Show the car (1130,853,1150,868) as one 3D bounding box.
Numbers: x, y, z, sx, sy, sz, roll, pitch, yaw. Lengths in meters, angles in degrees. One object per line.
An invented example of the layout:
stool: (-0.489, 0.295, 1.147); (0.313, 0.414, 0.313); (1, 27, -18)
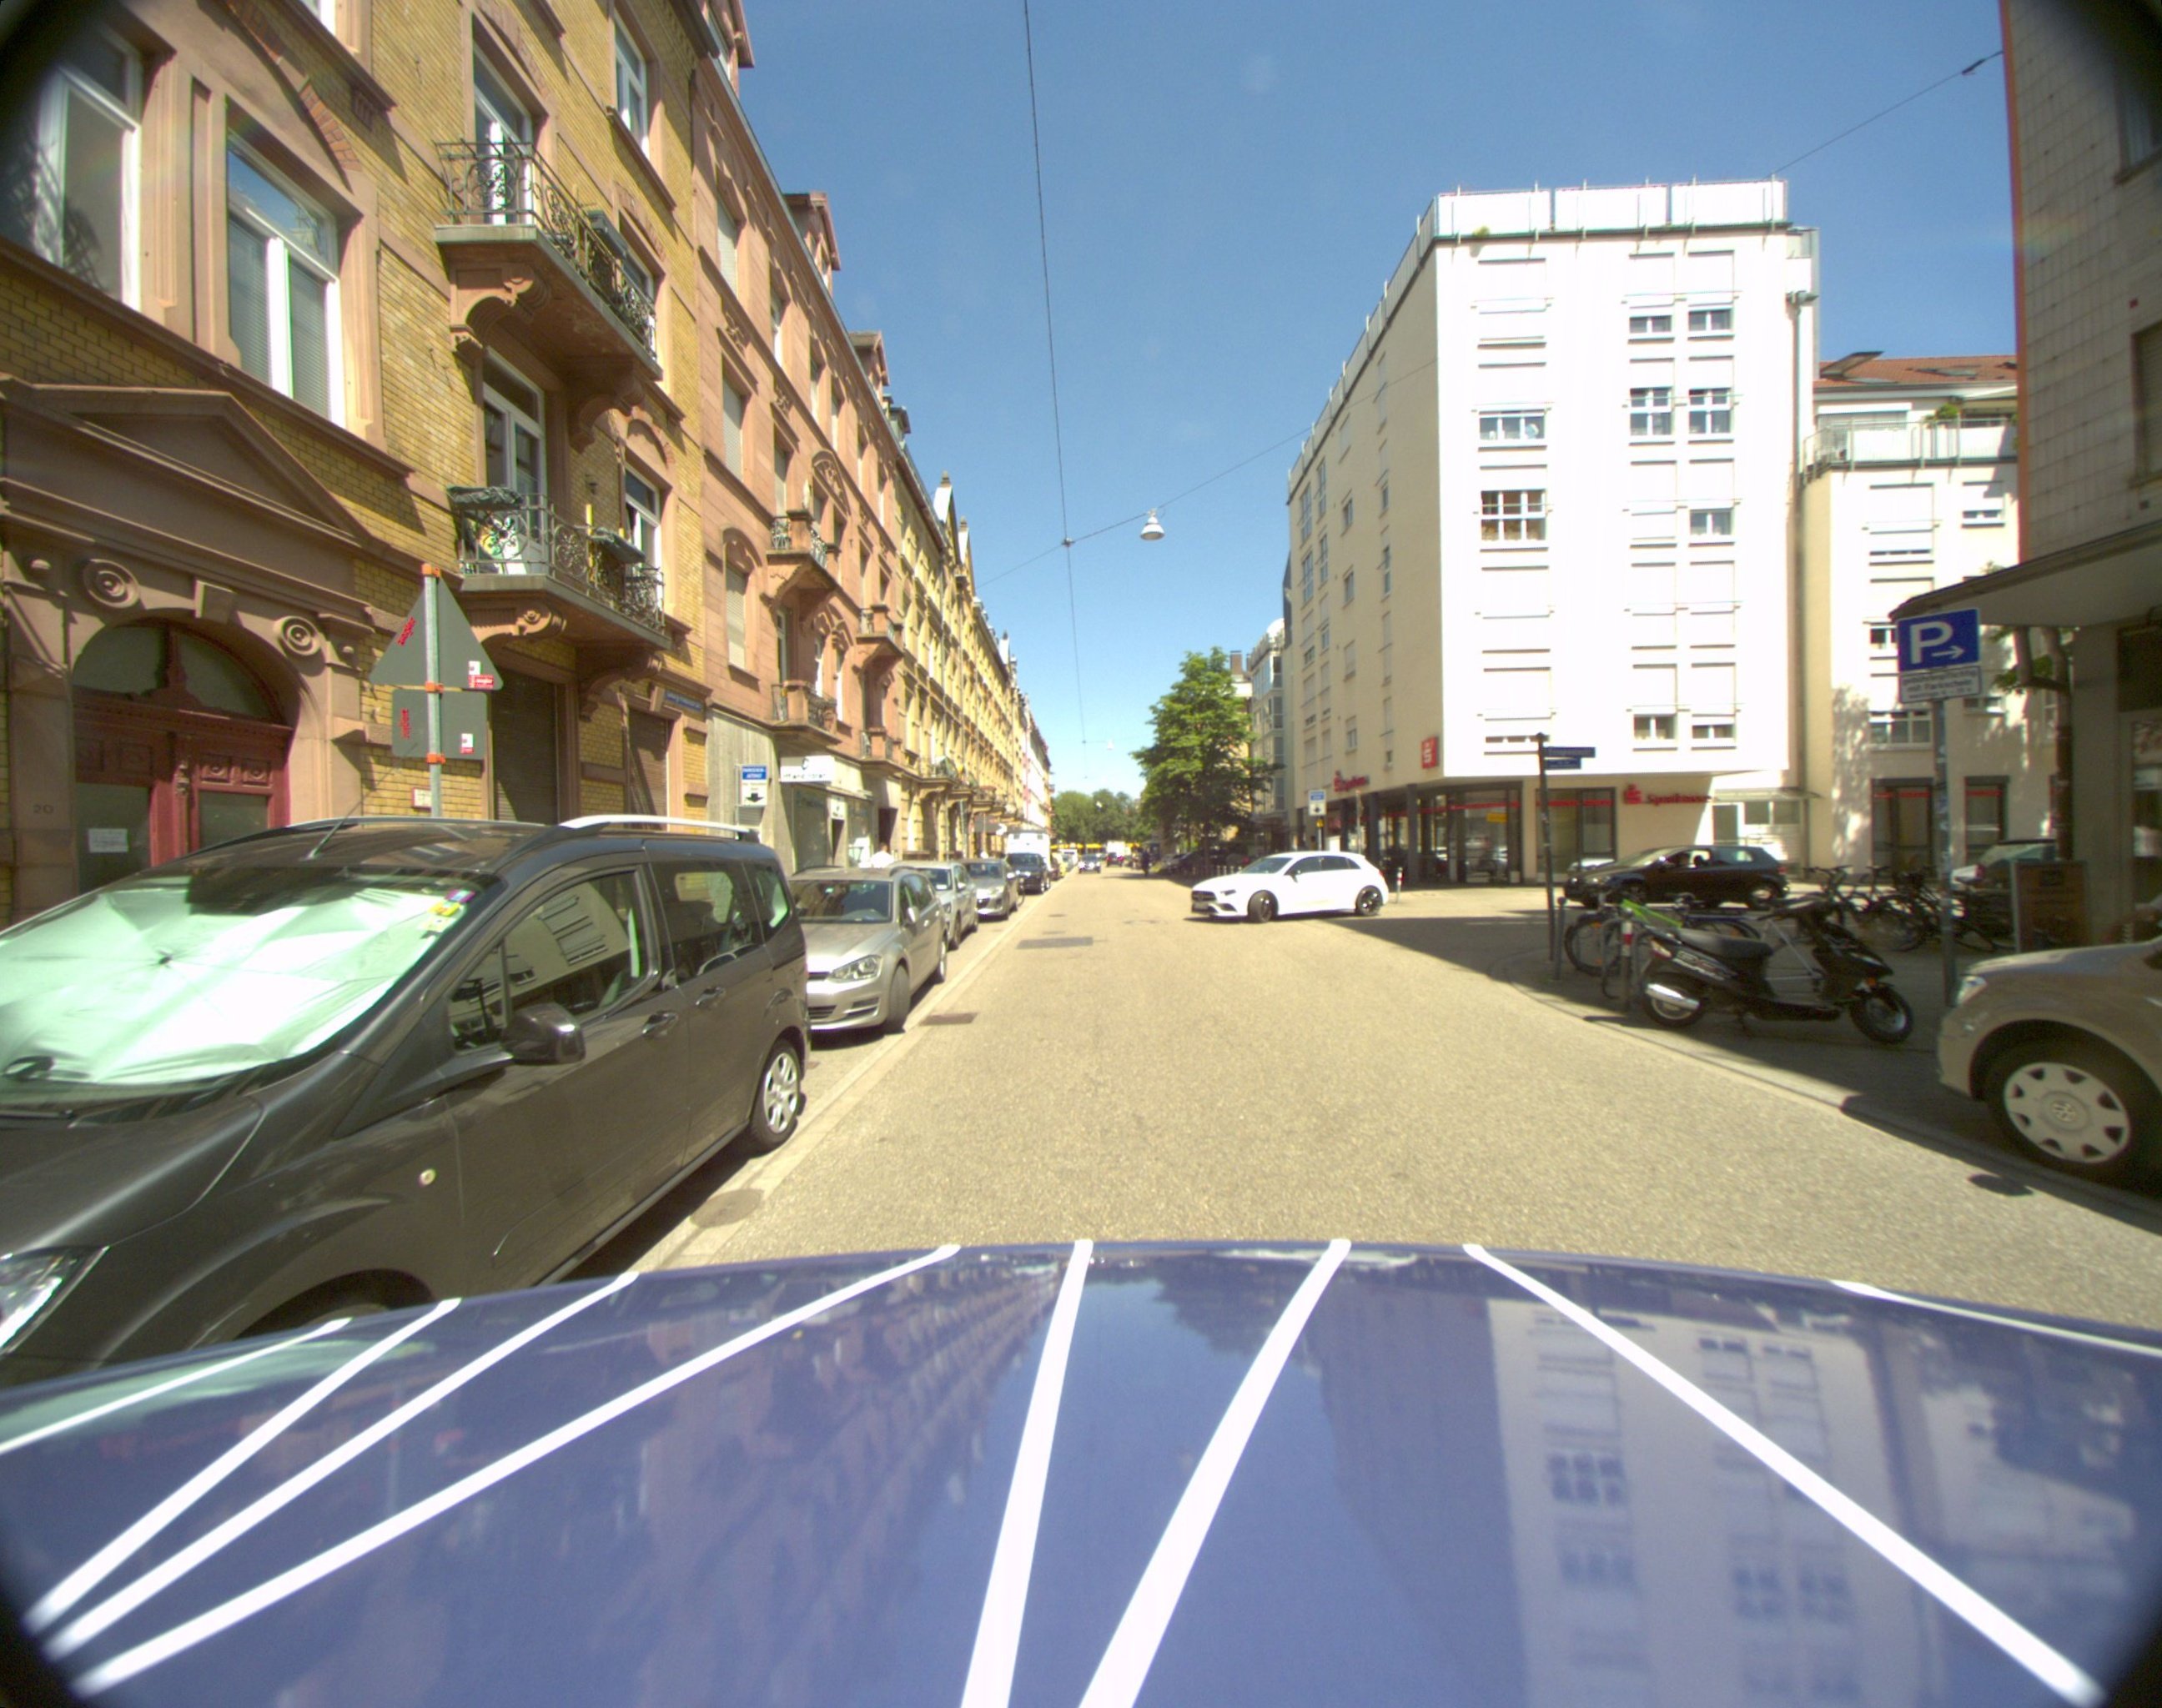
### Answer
car: (6.805, 0.714, 87.709); (1.998, 1.505, 4.000); (-3, 1, 1)

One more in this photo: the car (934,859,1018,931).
car: (-2.435, 0.917, 18.426); (1.602, 1.454, 3.689); (-2, 1, -2)

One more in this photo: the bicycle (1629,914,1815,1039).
bicycle: (5.607, 1.032, 6.689); (1.210, 0.951, 0.338); (-2, 1, 43)

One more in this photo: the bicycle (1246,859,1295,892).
bicycle: (6.754, 0.758, 27.134); (1.608, 1.084, 0.371); (-3, 1, 6)

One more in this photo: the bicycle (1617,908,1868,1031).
bicycle: (6.050, 1.011, 7.047); (1.706, 0.951, 0.411); (-2, 1, 43)

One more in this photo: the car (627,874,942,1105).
car: (-2.462, 1.012, 7.396); (1.766, 1.441, 3.903); (-2, 1, -5)

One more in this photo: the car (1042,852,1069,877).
car: (-1.697, 0.658, 50.503); (1.682, 1.528, 3.999); (-2, 1, -2)

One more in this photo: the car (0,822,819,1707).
car: (-2.505, 0.831, 2.603); (1.706, 1.723, 4.000); (-2, 1, 1)

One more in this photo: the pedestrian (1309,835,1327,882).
pedestrian: (10.740, 0.205, 34.395); (0.608, 2.113, 0.496); (-1, 1, 36)

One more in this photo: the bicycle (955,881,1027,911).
bicycle: (-2.572, 1.211, 21.911); (1.965, 0.772, 0.568); (-1, 1, 5)

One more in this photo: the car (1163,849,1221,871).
car: (7.953, 0.427, 54.721); (3.885, 1.487, 1.652); (-1, 0, 0)

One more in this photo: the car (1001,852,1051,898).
car: (-2.043, 0.742, 28.992); (1.682, 1.528, 3.999); (-2, 1, -2)

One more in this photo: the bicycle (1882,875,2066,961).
bicycle: (11.622, 0.793, 9.975); (0.410, 0.951, 1.711); (-2, 1, 2)

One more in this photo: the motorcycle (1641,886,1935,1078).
motorcycle: (5.224, 0.904, 5.733); (1.552, 1.277, 0.394); (-2, 2, 33)

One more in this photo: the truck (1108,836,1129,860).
truck: (5.256, -0.801, 106.719); (2.763, 3.270, 4.957); (-1, 1, 1)

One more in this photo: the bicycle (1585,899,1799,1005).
bicycle: (6.355, 0.983, 7.984); (1.706, 0.951, 0.411); (-2, 1, 43)

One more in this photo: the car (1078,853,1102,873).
car: (0.711, 0.695, 60.170); (1.780, 1.460, 4.000); (-3, 1, 1)

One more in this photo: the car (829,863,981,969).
car: (-2.939, 0.970, 13.575); (1.830, 1.452, 3.999); (-2, 1, -2)

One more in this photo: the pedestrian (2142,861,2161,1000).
pedestrian: (9.474, 0.648, 6.222); (0.593, 1.173, 0.698); (-1, 1, -1)

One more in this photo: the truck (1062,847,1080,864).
truck: (-1.223, 0.184, 96.007); (1.998, 2.002, 4.902); (-1, 0, 1)

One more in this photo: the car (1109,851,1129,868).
car: (4.125, 0.566, 83.854); (1.998, 1.674, 4.000); (-3, 1, 1)

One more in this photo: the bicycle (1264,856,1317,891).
bicycle: (7.038, 0.657, 25.547); (1.608, 1.084, 0.371); (-3, 1, 6)

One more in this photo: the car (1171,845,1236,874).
car: (7.889, 0.358, 49.158); (3.885, 1.737, 1.652); (-1, 1, 0)

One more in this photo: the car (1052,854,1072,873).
car: (-1.737, 0.840, 68.674); (1.682, 1.528, 3.999); (-2, 1, -2)

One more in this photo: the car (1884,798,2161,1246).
car: (5.234, 0.651, 1.656); (1.793, 1.818, 4.900); (-3, 0, 1)

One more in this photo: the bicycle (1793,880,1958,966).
bicycle: (10.381, 0.859, 10.017); (0.410, 0.951, 1.711); (-2, 1, 2)

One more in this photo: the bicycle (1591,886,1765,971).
bicycle: (7.652, 0.916, 9.827); (0.411, 0.951, 1.707); (-3, 1, -32)

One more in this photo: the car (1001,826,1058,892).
car: (-2.264, 0.193, 34.850); (2.067, 2.687, 5.038); (-3, 1, 1)

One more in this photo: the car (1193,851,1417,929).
car: (4.719, 0.693, 16.127); (4.244, 1.417, 1.813); (-1, 0, -16)

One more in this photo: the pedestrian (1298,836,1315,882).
pedestrian: (10.482, 0.210, 35.321); (0.495, 2.113, 0.608); (-2, 1, -19)

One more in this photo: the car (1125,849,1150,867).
car: (5.225, 0.336, 70.916); (1.998, 1.505, 4.000); (-3, 1, 1)

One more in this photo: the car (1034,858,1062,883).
car: (-1.947, 0.952, 45.361); (1.533, 1.293, 3.686); (-2, 1, -2)

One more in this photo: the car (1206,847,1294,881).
car: (8.084, 0.482, 36.548); (3.885, 1.520, 1.652); (-1, 0, 0)

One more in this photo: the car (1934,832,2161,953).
car: (14.530, 0.417, 10.099); (3.997, 1.421, 2.001); (-3, -3, 1)

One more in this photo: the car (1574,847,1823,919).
car: (13.389, 0.596, 16.698); (3.887, 1.417, 1.816); (-1, 0, 5)

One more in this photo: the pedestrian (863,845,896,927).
pedestrian: (-4.786, 0.757, 18.035); (0.635, 1.903, 0.370); (-1, 1, 1)
